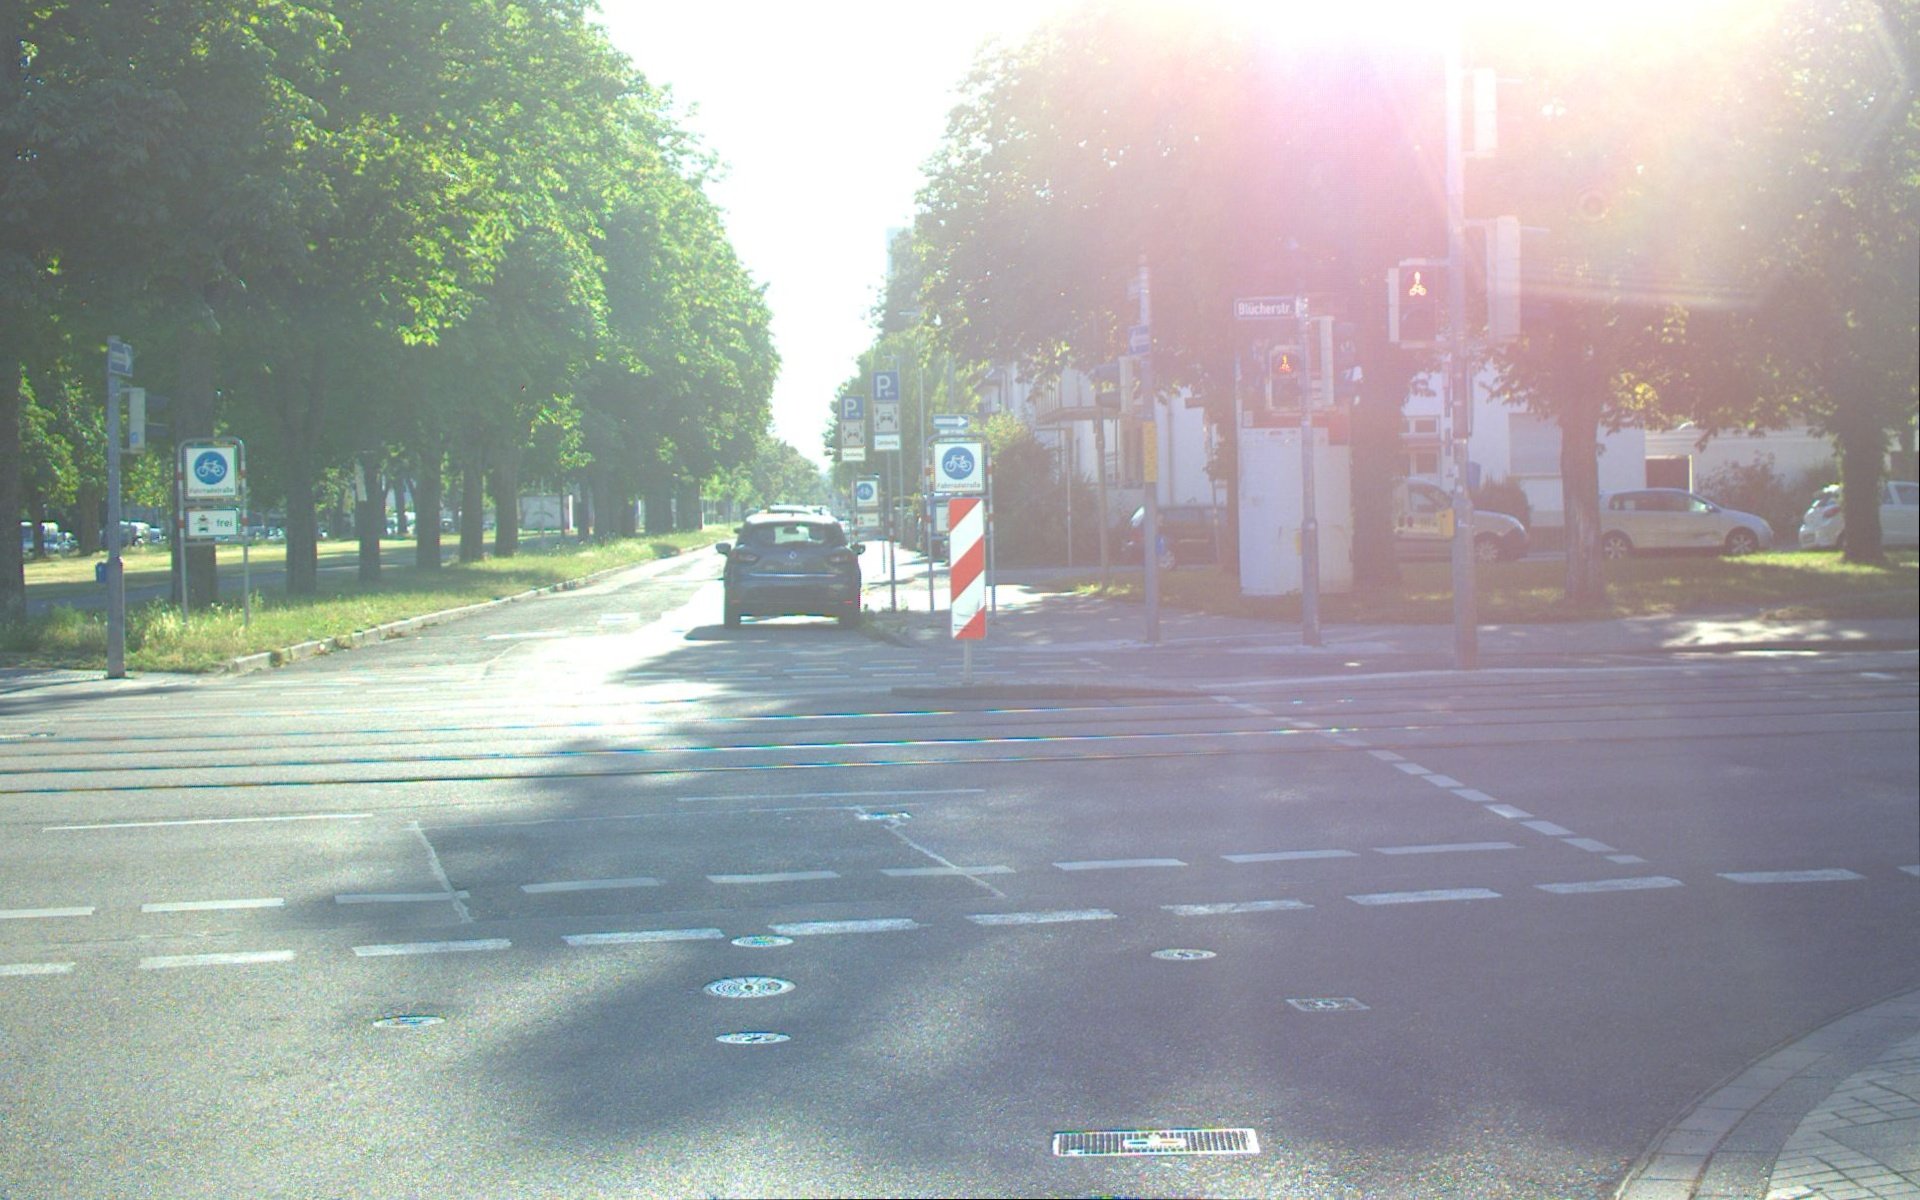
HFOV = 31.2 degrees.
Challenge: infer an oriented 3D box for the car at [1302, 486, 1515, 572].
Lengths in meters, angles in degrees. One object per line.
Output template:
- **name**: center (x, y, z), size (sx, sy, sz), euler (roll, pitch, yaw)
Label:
- **car**: center (8.498, -1.353, 65.340), size (3.779, 1.520, 1.744), euler (-1, 3, -2)

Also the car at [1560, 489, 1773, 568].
- **car**: center (13.402, -1.364, 65.286), size (3.662, 1.422, 1.532), euler (-1, 1, -6)

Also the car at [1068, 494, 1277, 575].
- **car**: center (3.991, -1.251, 65.015), size (3.779, 1.422, 1.744), euler (-1, 3, -2)

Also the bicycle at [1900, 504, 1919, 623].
- **bicycle**: center (10.058, -0.374, 32.883), size (1.954, 1.128, 0.620), euler (-1, 1, 1)

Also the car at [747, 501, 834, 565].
- **car**: center (-3.805, -1.534, 77.794), size (1.845, 1.389, 3.829), euler (0, 2, -1)

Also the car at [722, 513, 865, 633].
- **car**: center (-2.089, -0.373, 43.912), size (1.641, 1.446, 3.307), euler (-1, 2, 0)

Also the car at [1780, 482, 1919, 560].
- **car**: center (17.903, -1.534, 66.057), size (3.844, 1.422, 1.598), euler (-1, 1, -6)
